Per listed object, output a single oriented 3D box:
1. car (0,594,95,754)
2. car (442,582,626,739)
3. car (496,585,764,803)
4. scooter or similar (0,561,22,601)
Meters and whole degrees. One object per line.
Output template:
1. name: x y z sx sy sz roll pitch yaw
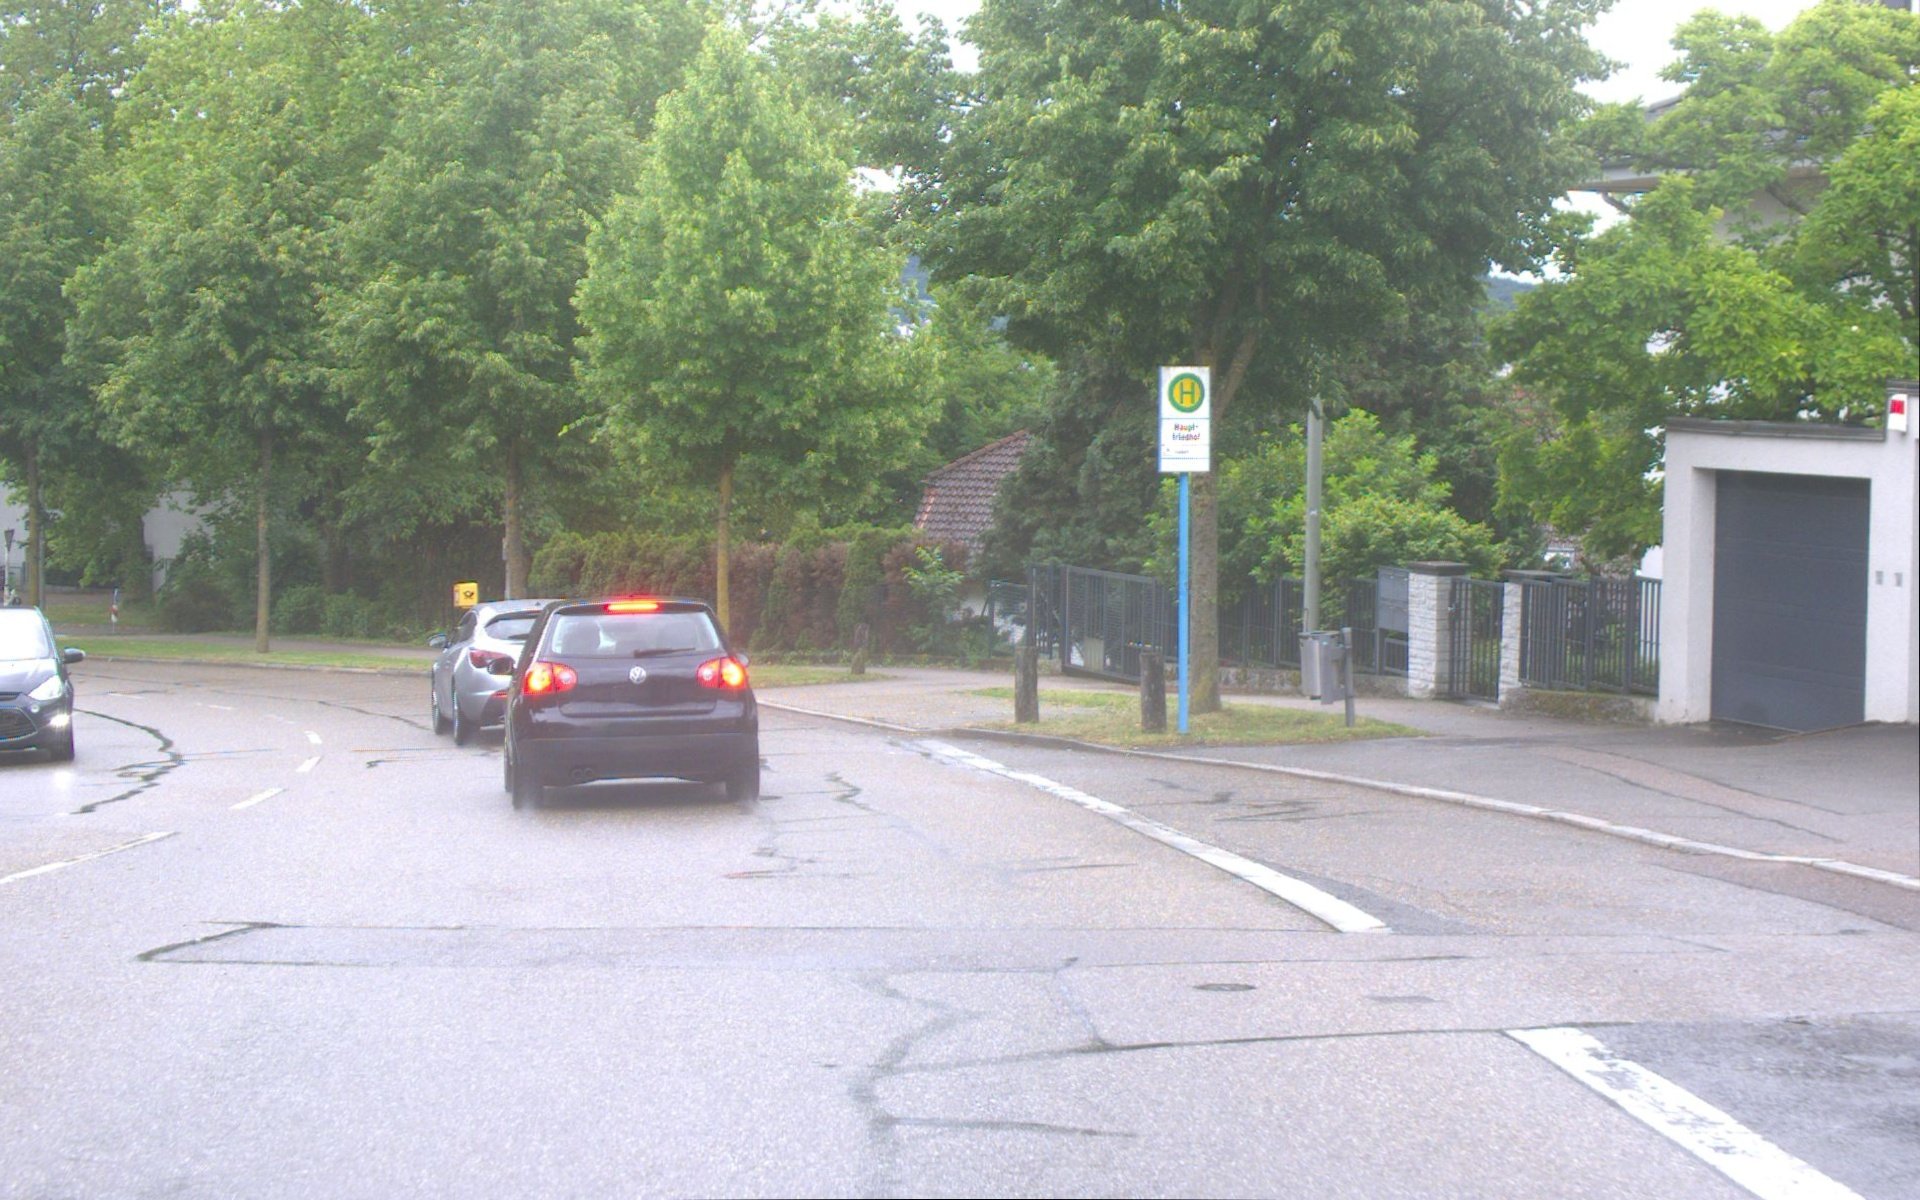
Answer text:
1. car: -10.147 0.726 36.139 1.810 1.571 4.687 -1 0 -11
2. car: -4.559 0.592 36.398 1.754 1.459 4.001 -1 2 -9
3. car: -2.503 0.627 25.338 1.721 1.459 4.001 -1 0 -9
4. scooter or similar: -31.590 -0.616 113.004 1.336 1.281 0.561 -2 2 -39
